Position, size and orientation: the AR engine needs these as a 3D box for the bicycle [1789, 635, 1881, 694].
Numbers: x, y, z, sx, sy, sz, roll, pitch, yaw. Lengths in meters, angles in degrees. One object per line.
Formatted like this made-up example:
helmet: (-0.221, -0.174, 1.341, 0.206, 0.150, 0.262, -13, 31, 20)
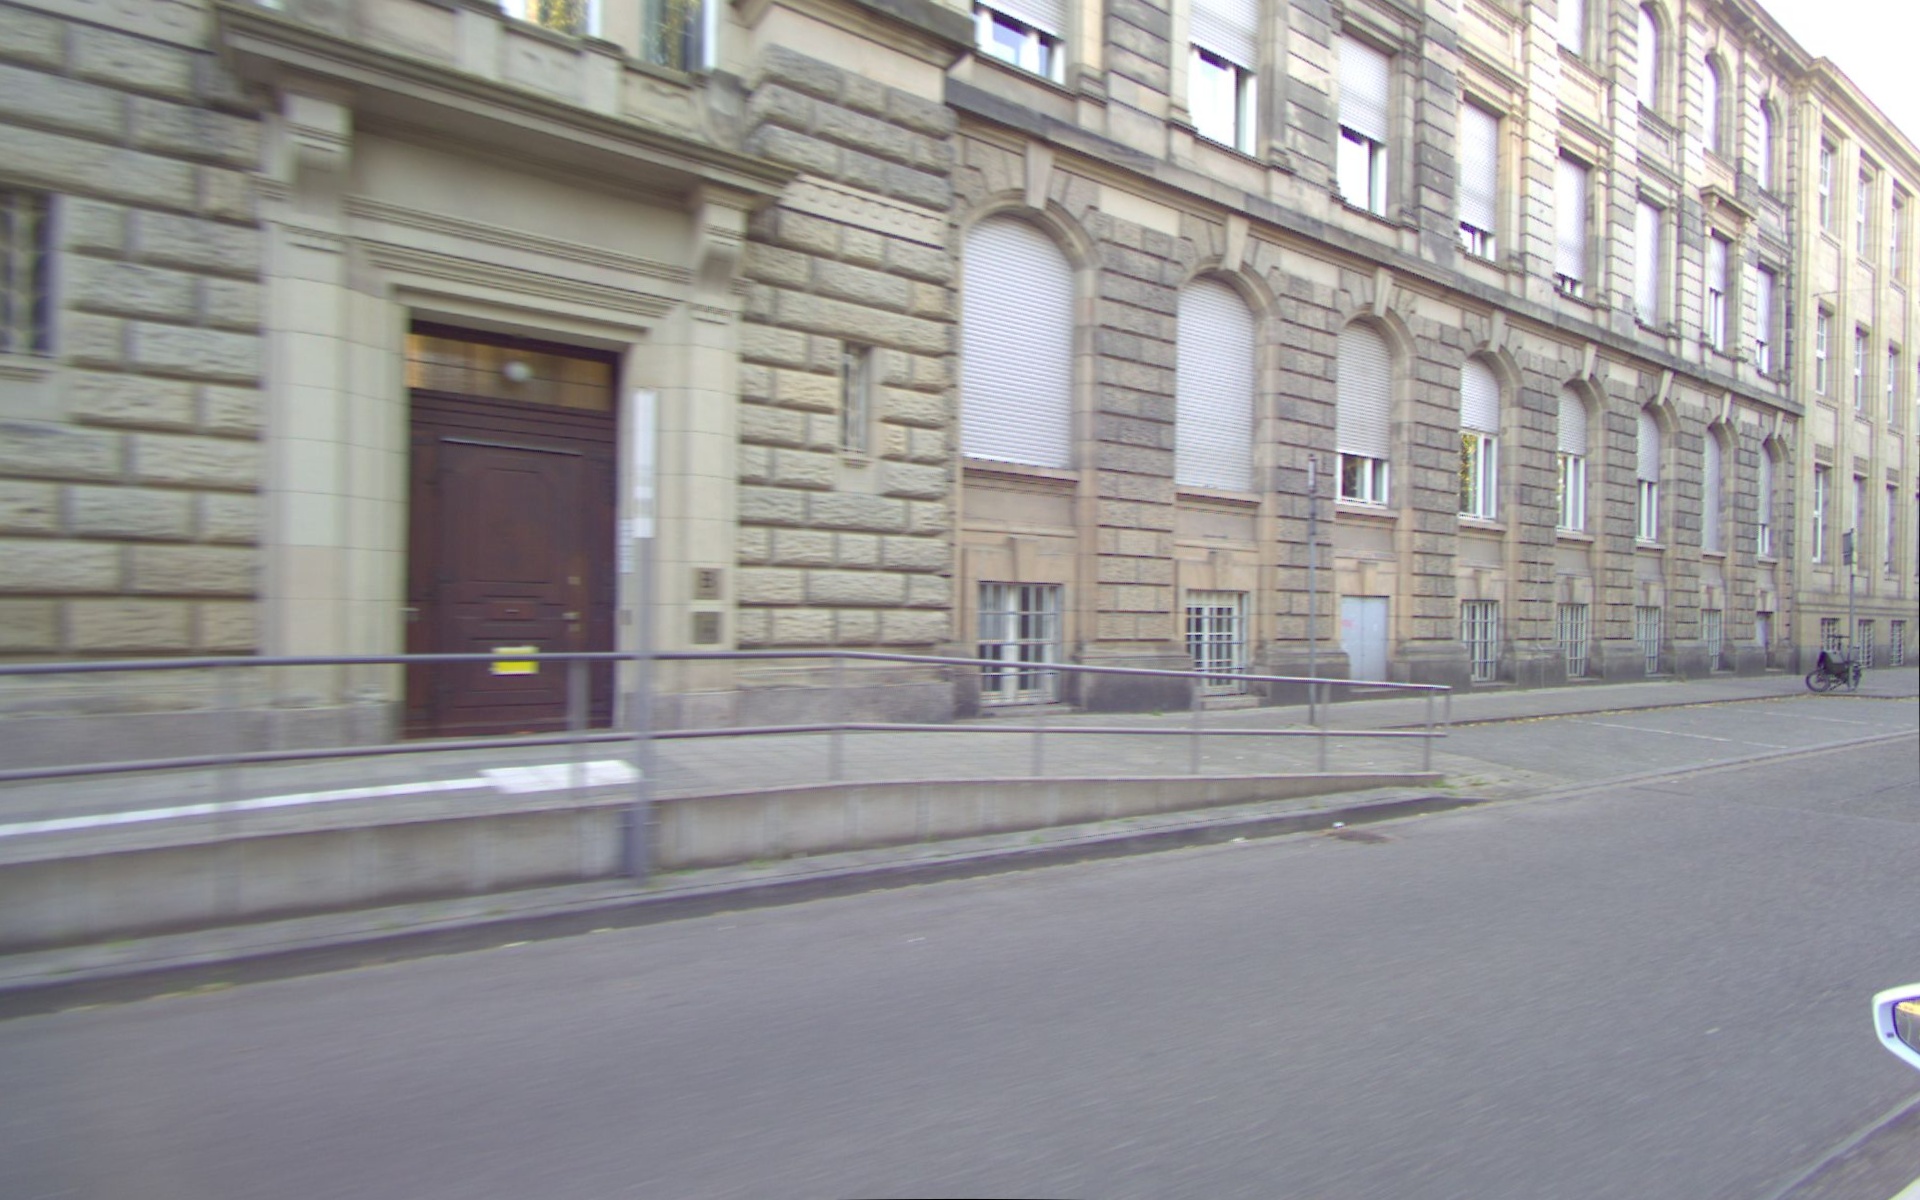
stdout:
bicycle: (18.059, 1.315, 20.728, 1.959, 1.116, 0.848, 1, 1, -31)
